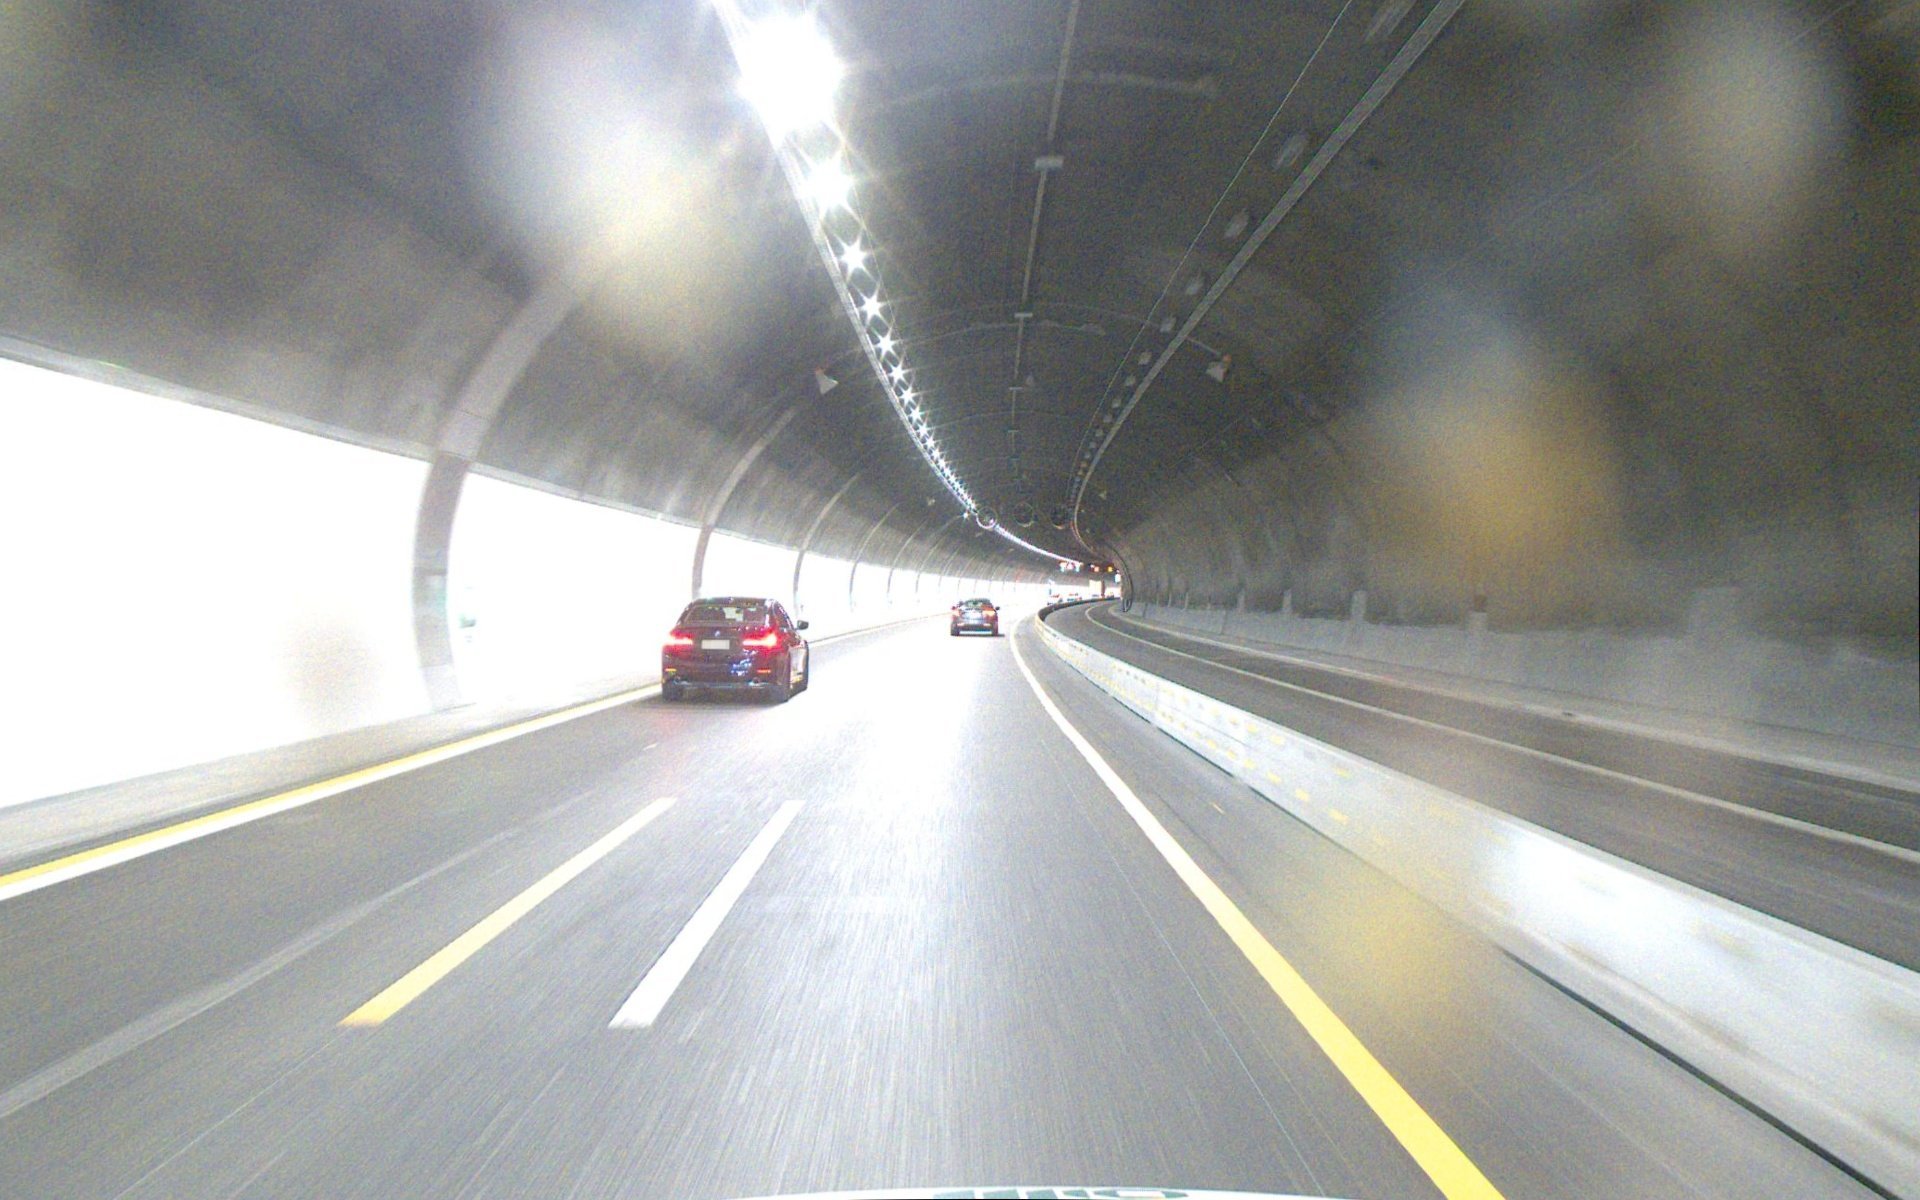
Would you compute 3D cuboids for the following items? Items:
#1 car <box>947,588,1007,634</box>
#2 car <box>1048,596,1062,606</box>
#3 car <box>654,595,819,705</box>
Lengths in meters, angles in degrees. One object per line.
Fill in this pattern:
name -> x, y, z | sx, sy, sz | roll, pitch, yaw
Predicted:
car -> 0.698, 0.408, 64.360 | 2.096, 1.735, 4.002 | 0, 0, 4
car -> 12.863, 0.125, 223.970 | 1.561, 1.356, 3.753 | 0, 0, 7
car -> -3.238, 0.671, 24.838 | 1.741, 1.463, 4.883 | 0, 0, 1
